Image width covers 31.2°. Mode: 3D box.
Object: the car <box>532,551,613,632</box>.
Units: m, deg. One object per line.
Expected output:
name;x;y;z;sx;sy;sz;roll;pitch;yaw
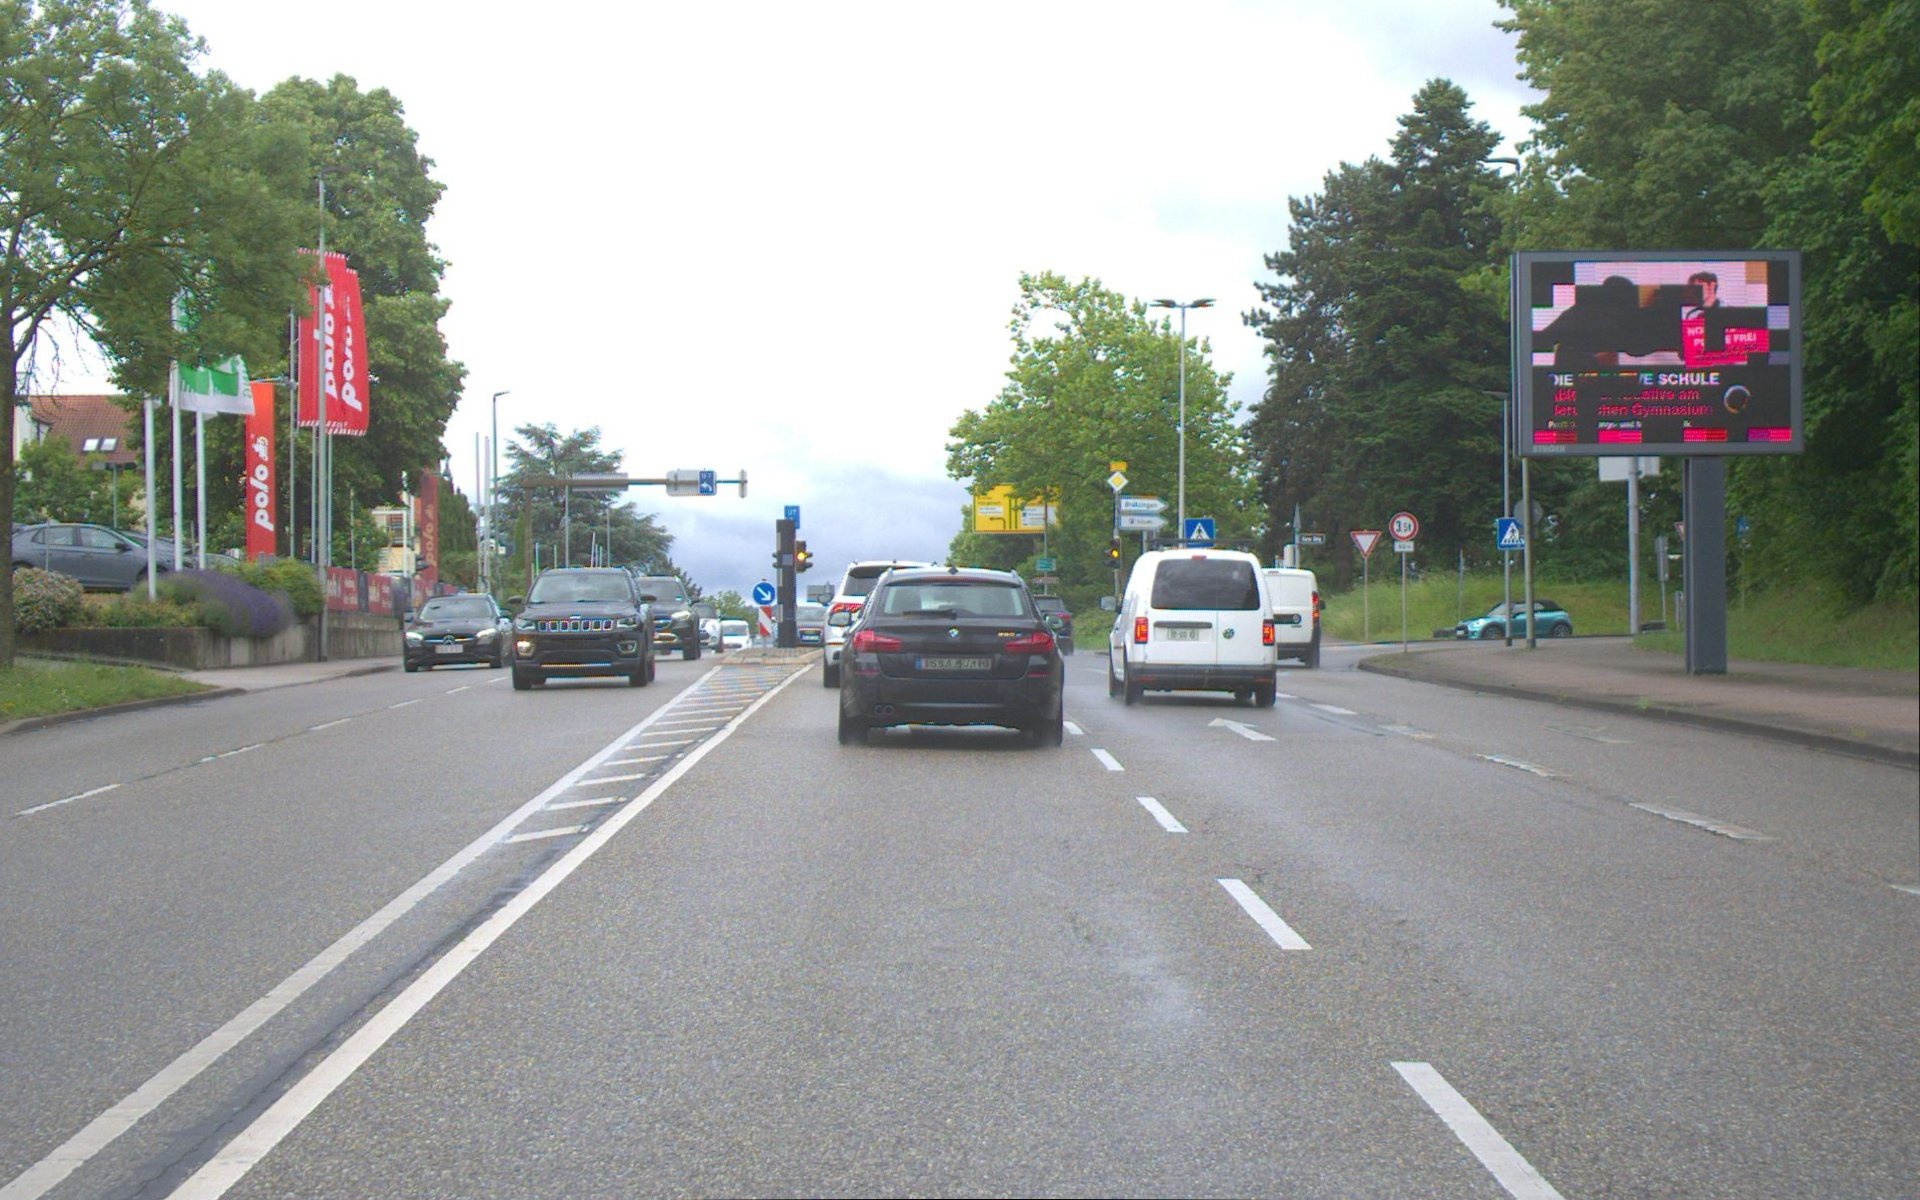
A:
car;-10.021;-0.220;89.173;1.795;1.976;4.899;-2;0;-4

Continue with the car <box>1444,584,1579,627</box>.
car;17.811;0.173;111.100;3.986;1.289;1.609;-2;1;-19

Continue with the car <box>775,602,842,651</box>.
car;-4.640;0.829;104.672;1.894;1.451;4.097;0;-1;-4

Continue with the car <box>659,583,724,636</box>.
car;-7.451;0.268;95.671;1.667;1.393;4.000;-2;0;-3

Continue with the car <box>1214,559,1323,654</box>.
car;5.848;0.097;64.794;1.815;1.702;3.944;0;1;8

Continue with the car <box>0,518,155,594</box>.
car;-17.823;-0.853;67.406;3.825;1.477;1.742;0;0;-8

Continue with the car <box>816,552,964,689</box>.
car;-0.896;0.240;45.482;1.728;1.705;3.382;1;1;2

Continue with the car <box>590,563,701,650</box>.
car;-6.108;0.113;67.123;1.822;1.602;4.284;-1;0;-1

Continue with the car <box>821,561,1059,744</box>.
car;-0.107;0.392;29.102;1.855;1.414;3.956;1;1;2

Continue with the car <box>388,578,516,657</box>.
car;-9.629;0.307;65.419;1.793;1.397;4.300;-1;1;0

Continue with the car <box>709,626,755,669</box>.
car;-10.059;2.096;151.934;1.857;1.817;4.579;-2;-1;-3

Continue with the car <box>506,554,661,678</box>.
car;-5.136;0.189;47.355;1.795;1.578;4.199;-1;1;-2

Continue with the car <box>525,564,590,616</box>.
car;-13.126;-0.342;112.315;1.751;1.605;4.533;-2;0;-3

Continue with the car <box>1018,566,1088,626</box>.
car;2.221;-0.115;82.839;1.600;1.367;3.680;-1;1;1

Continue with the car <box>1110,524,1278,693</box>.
car;2.717;0.084;40.651;1.741;1.863;3.946;1;0;1
